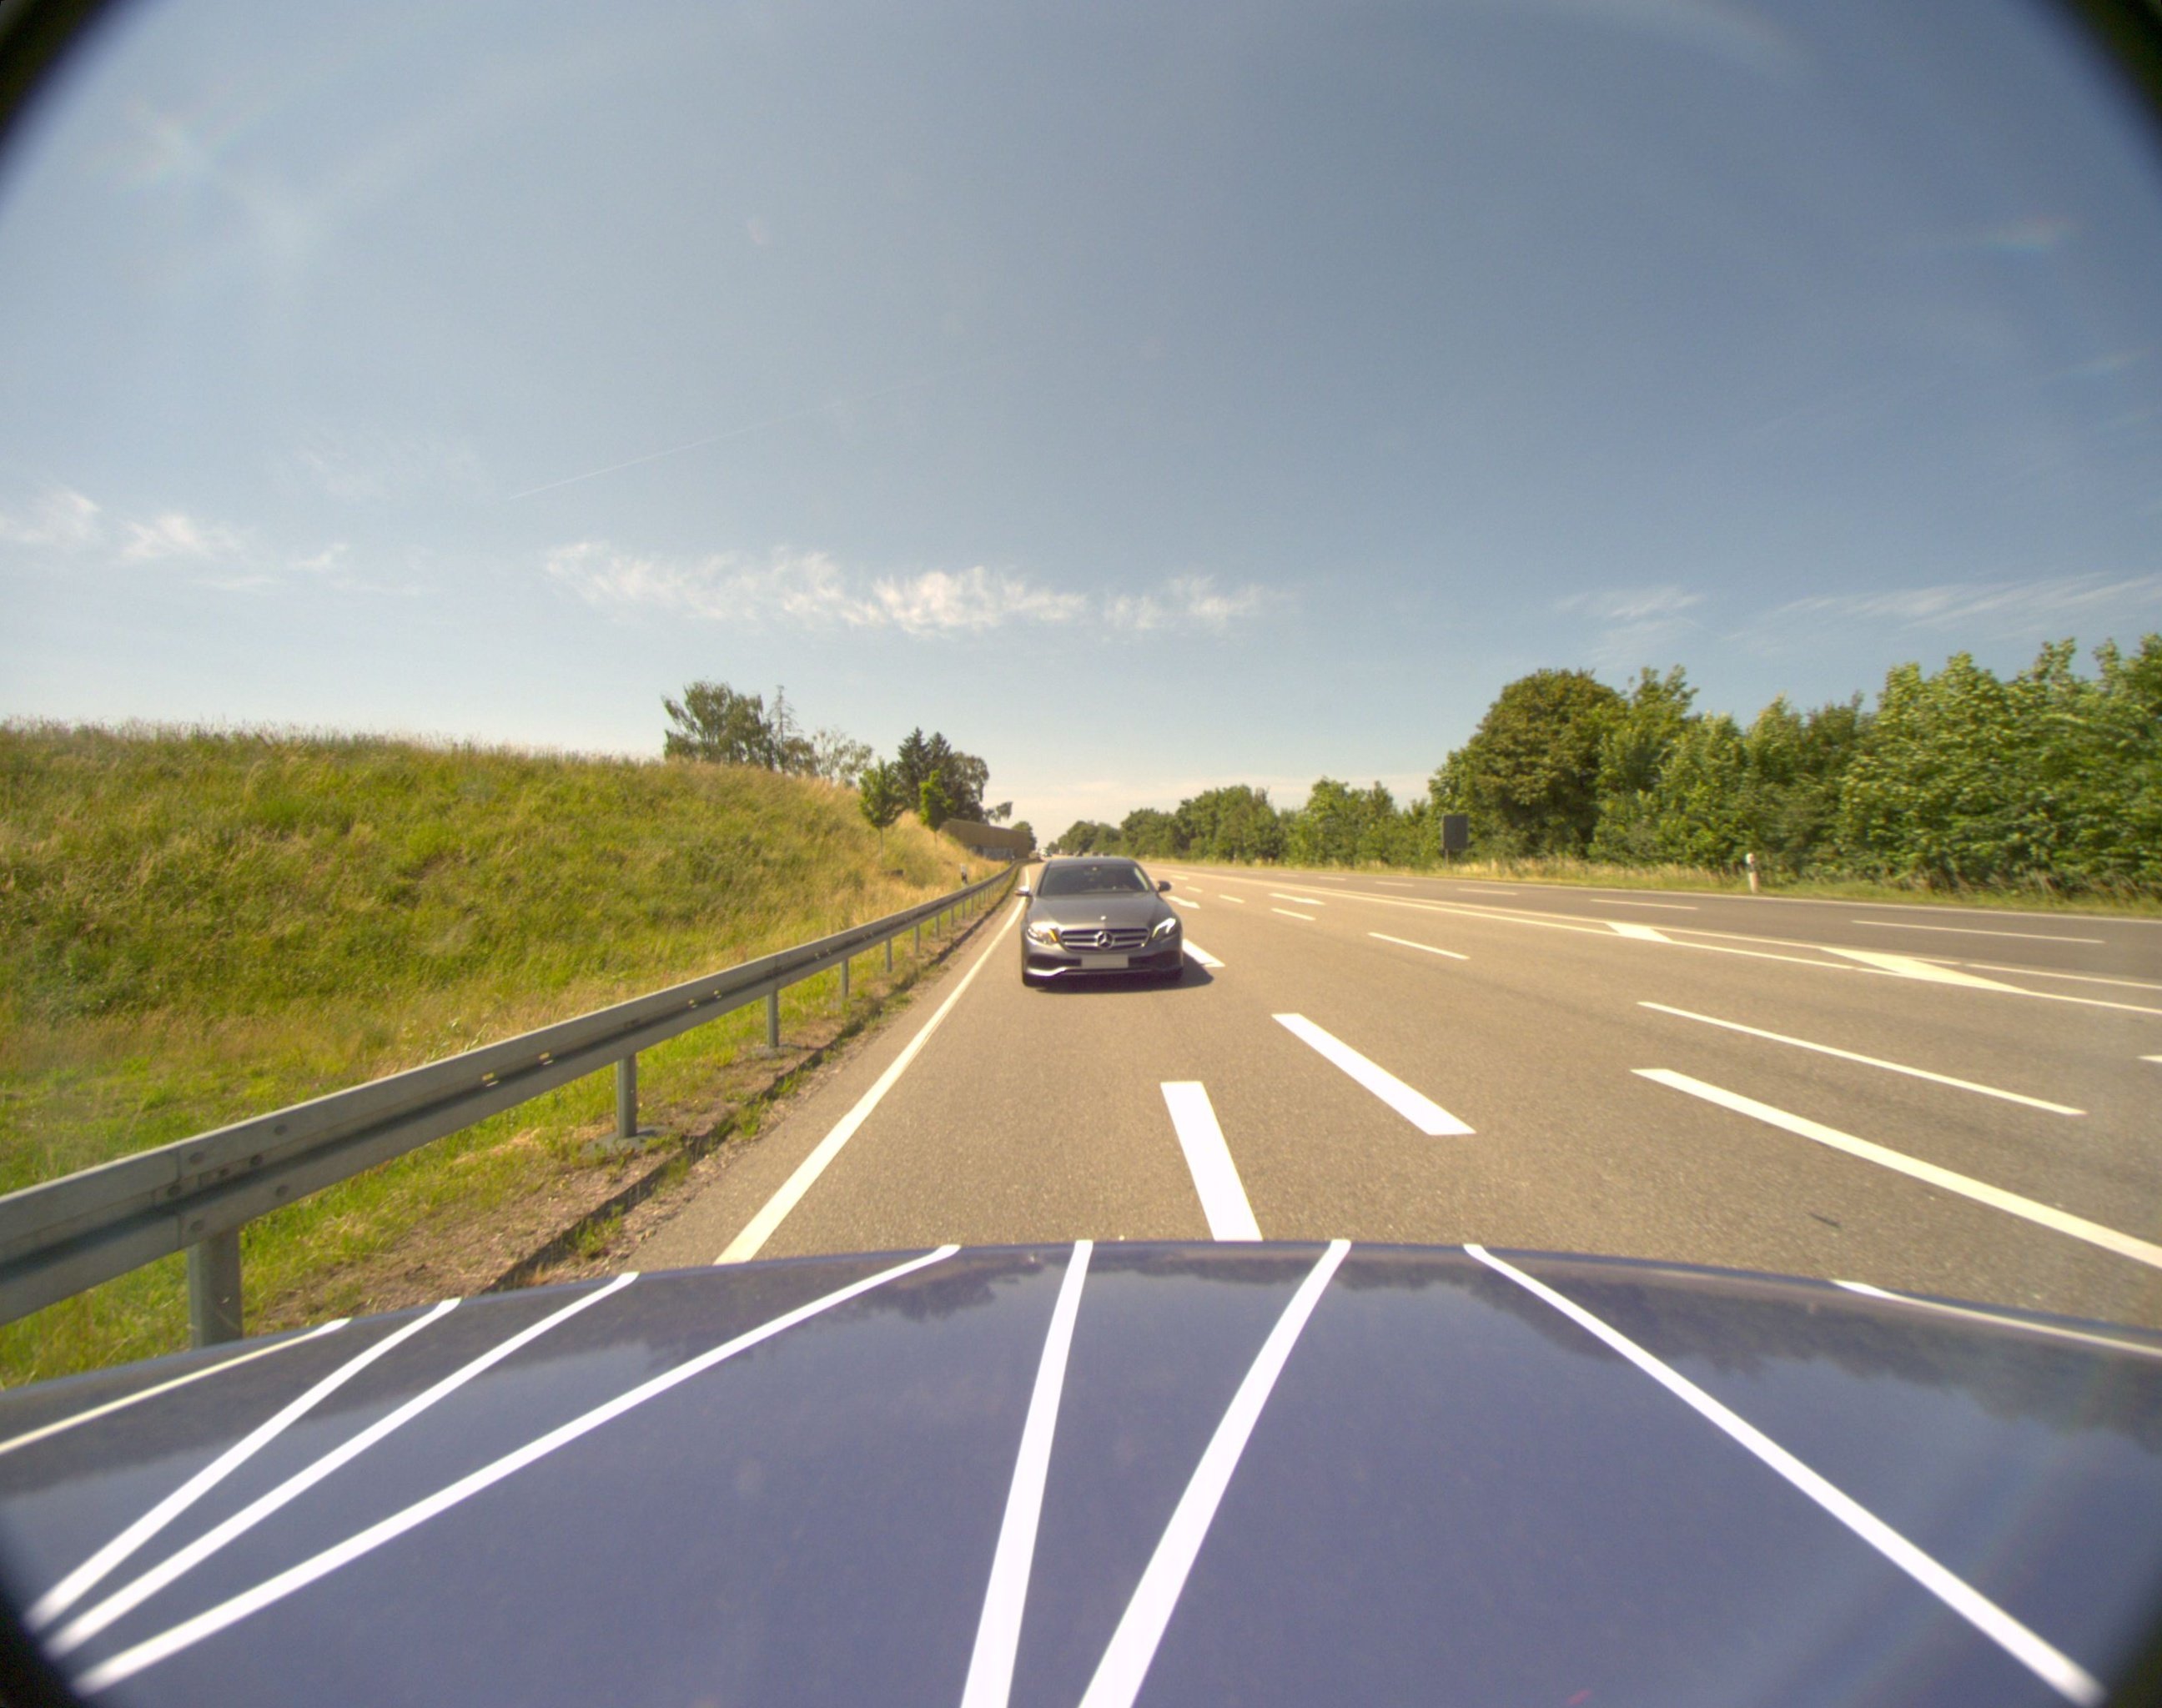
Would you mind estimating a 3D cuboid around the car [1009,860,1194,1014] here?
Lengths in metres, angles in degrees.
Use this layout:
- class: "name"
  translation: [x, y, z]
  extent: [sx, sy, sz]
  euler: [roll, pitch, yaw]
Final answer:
- class: "car"
  translation: [0.051, 0.873, 10.140]
  extent: [1.894, 1.439, 4.523]
  euler: [-2, 1, -4]

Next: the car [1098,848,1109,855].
- class: "car"
  translation: [4.655, -0.478, 157.758]
  extent: [1.883, 1.390, 4.528]
  euler: [-2, 1, -4]

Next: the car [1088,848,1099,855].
- class: "car"
  translation: [3.031, -0.684, 185.954]
  extent: [2.034, 1.630, 4.566]
  euler: [0, 1, -5]

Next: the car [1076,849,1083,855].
- class: "car"
  translation: [-0.424, -0.634, 205.782]
  extent: [1.649, 1.479, 3.557]
  euler: [-2, 1, -5]

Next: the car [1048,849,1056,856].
- class: "car"
  translation: [-7.350, -0.340, 193.664]
  extent: [1.802, 1.674, 3.998]
  euler: [-2, 2, -3]

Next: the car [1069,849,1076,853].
- class: "car"
  translation: [-2.697, -0.873, 242.495]
  extent: [1.810, 1.272, 4.762]
  euler: [-2, 1, -5]
